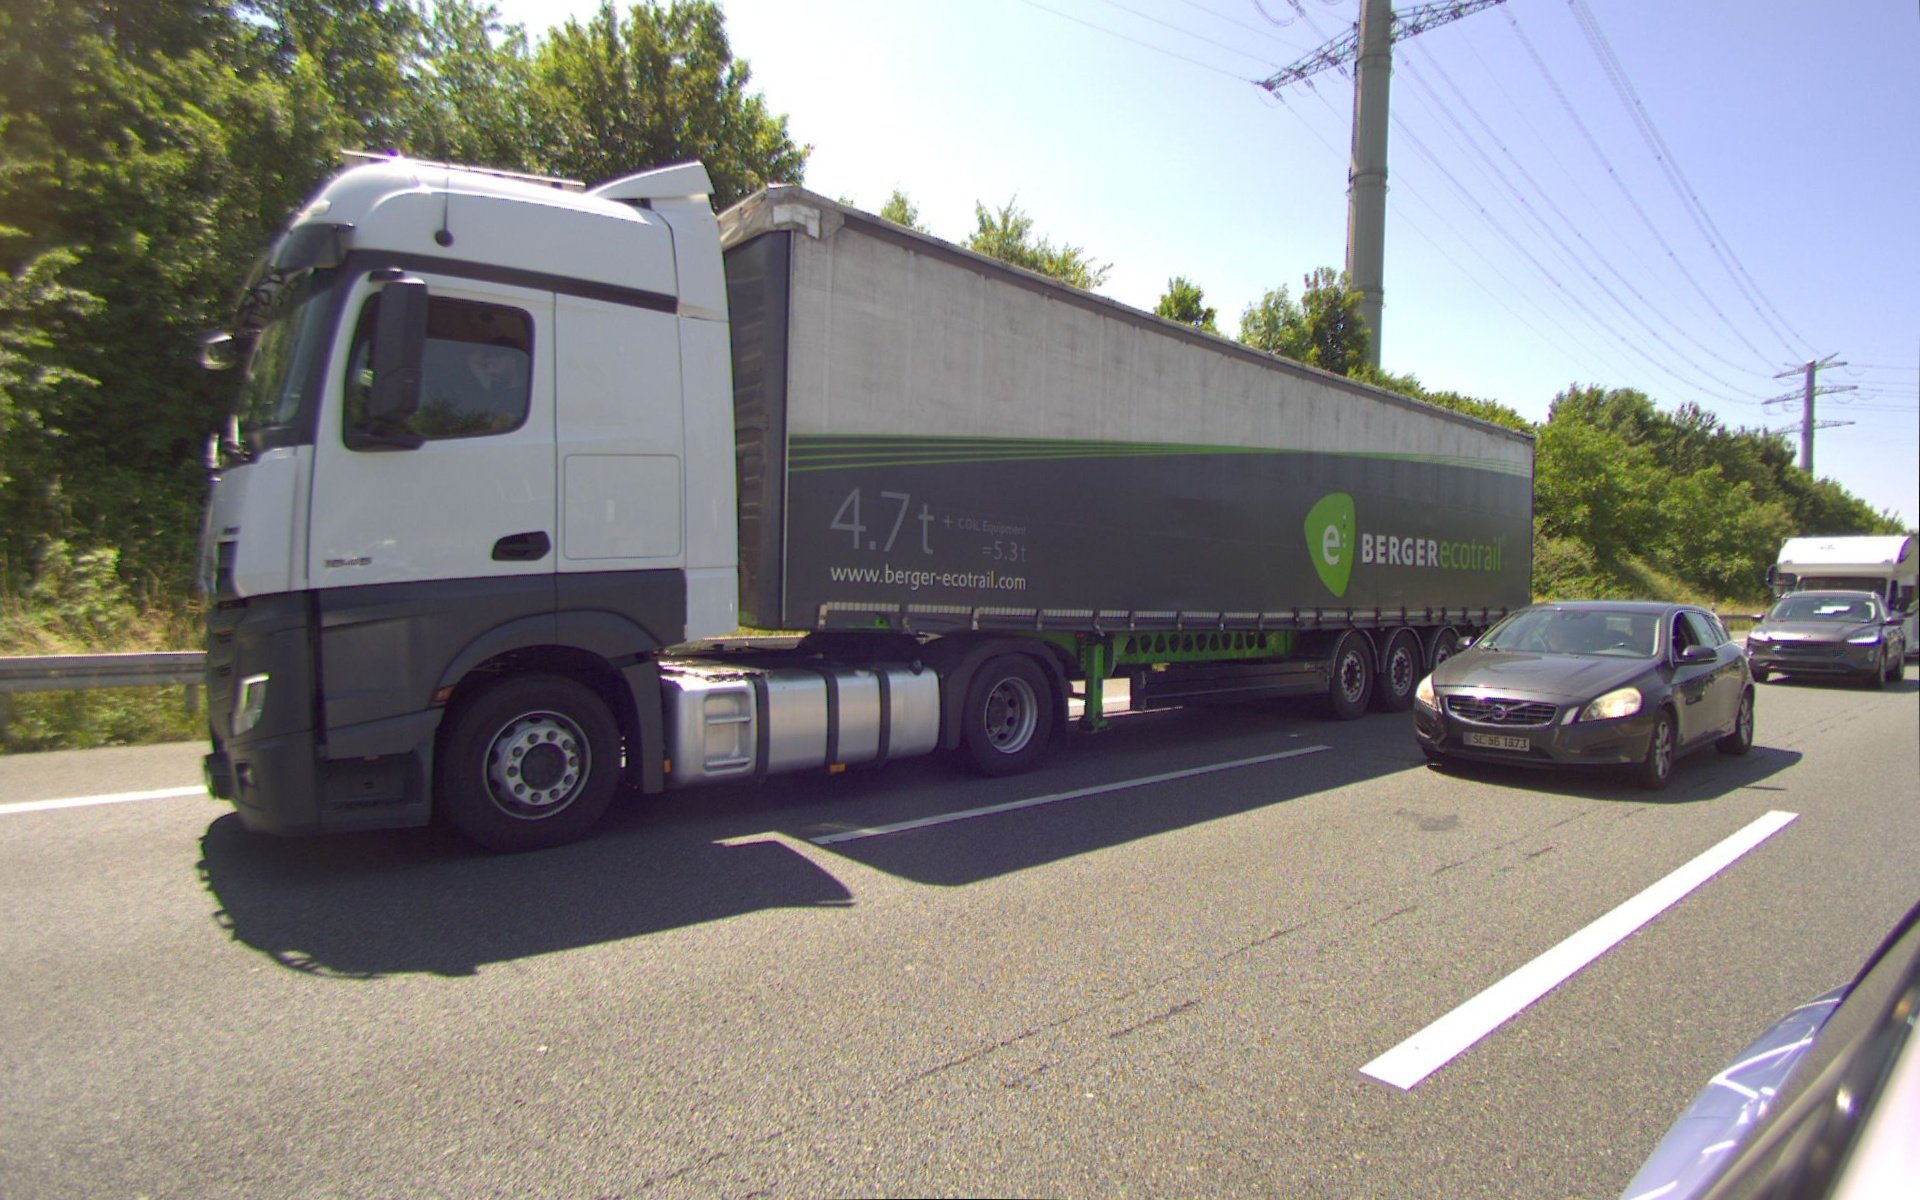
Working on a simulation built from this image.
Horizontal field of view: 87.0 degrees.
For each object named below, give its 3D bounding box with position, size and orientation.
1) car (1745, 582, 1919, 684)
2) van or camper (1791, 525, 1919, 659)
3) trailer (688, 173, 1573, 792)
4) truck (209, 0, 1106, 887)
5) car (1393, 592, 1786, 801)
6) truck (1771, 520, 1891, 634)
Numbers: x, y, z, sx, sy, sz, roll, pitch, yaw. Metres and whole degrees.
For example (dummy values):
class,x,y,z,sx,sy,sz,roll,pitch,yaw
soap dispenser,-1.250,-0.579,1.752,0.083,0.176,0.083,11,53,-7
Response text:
class,x,y,z,sx,sy,sz,roll,pitch,yaw
car,15.900,0.505,18.315,4.146,1.631,1.892,-1,0,-41
van or camper,24.382,-0.214,26.440,7.490,3.082,2.376,-1,0,-37
trailer,3.396,-0.837,11.985,12.882,4.098,2.788,-1,0,-41
truck,-1.856,-0.806,7.404,5.692,4.098,2.738,0,0,-41
car,5.857,0.656,9.172,4.431,1.437,1.798,-1,0,-41
truck,34.764,-0.873,40.345,5.538,4.197,2.790,0,0,-41
